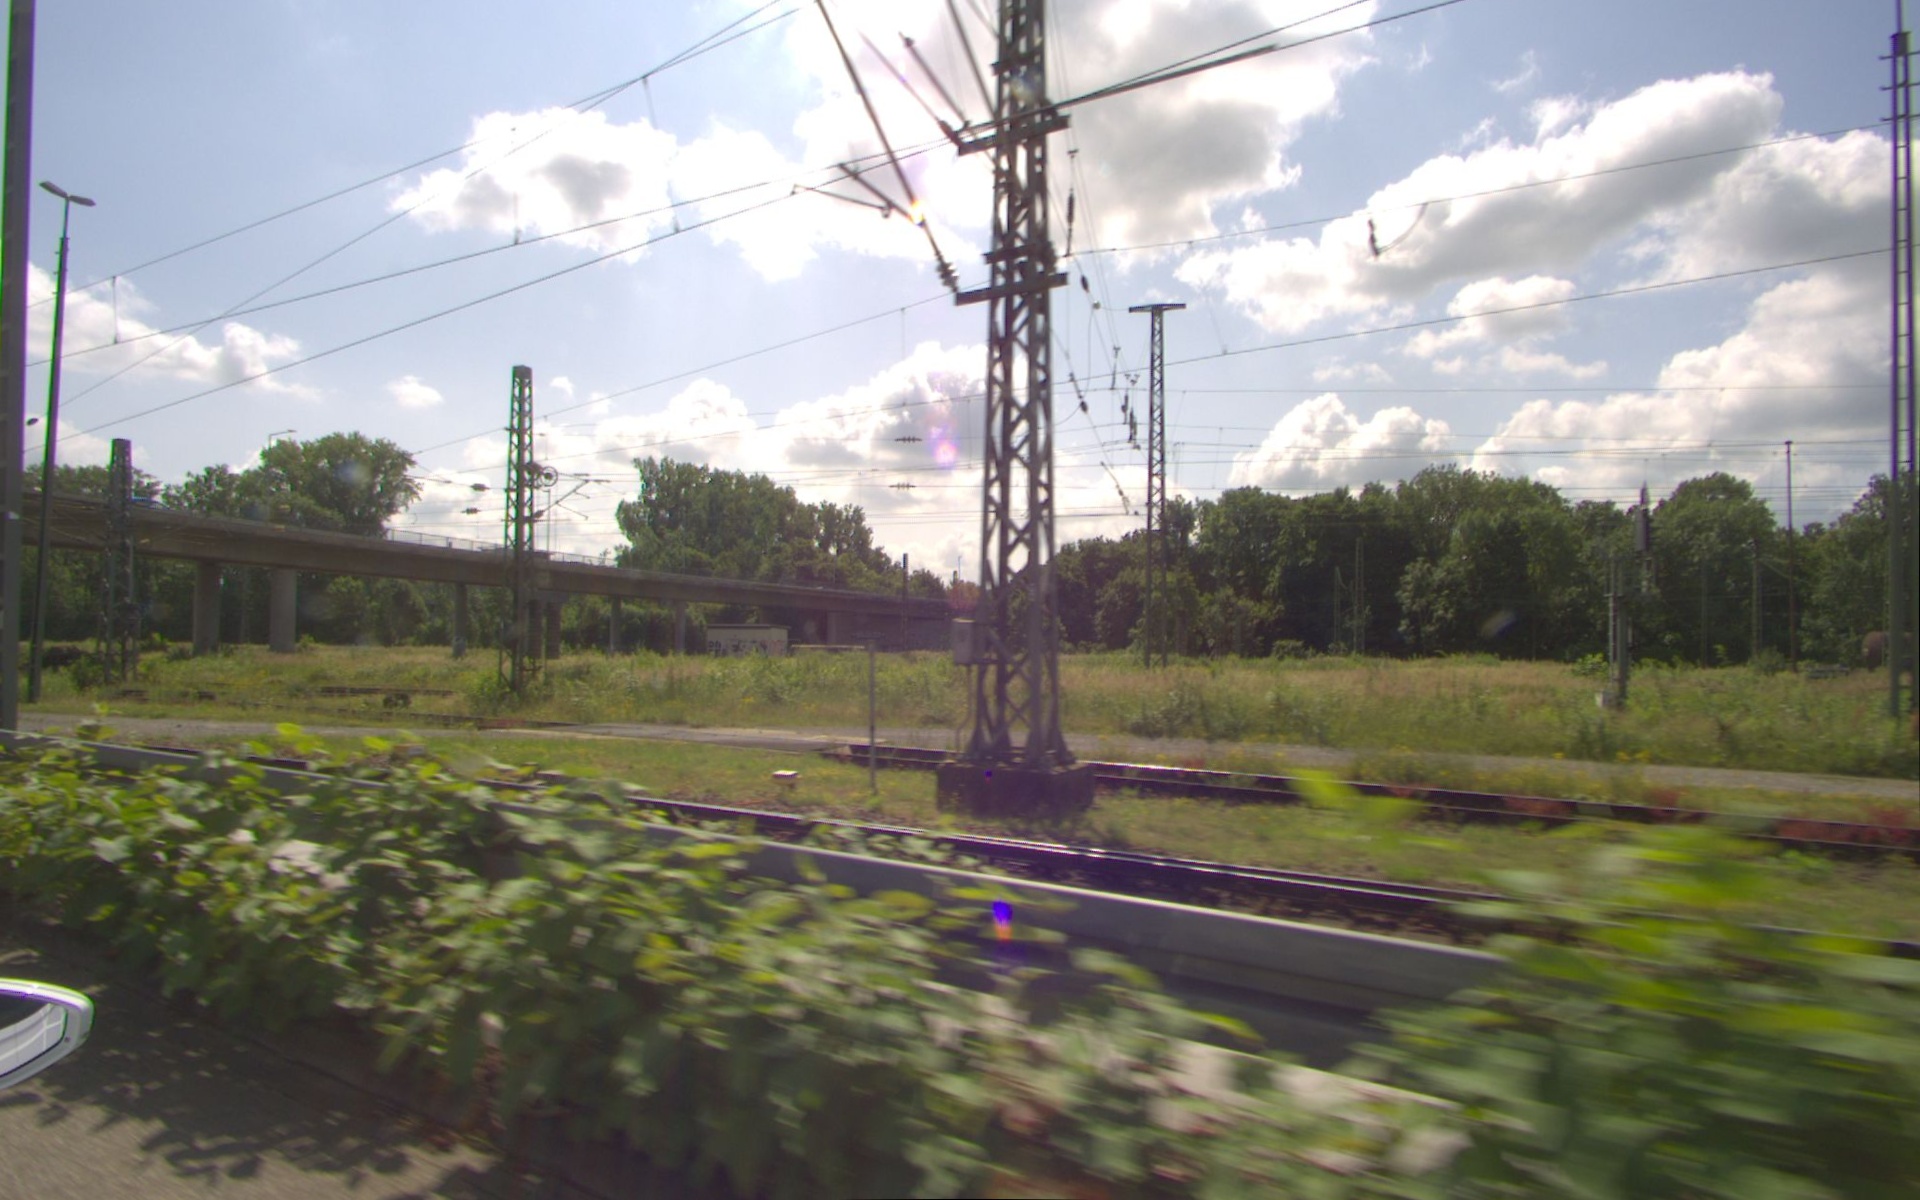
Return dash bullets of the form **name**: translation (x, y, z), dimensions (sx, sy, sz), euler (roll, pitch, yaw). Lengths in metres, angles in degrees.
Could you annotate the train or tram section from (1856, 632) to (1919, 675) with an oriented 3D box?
- **train or tram section**: translation (78.603, 4.164, 77.563), dimensions (13.686, 3.346, 3.032), euler (-1, -2, 17)
